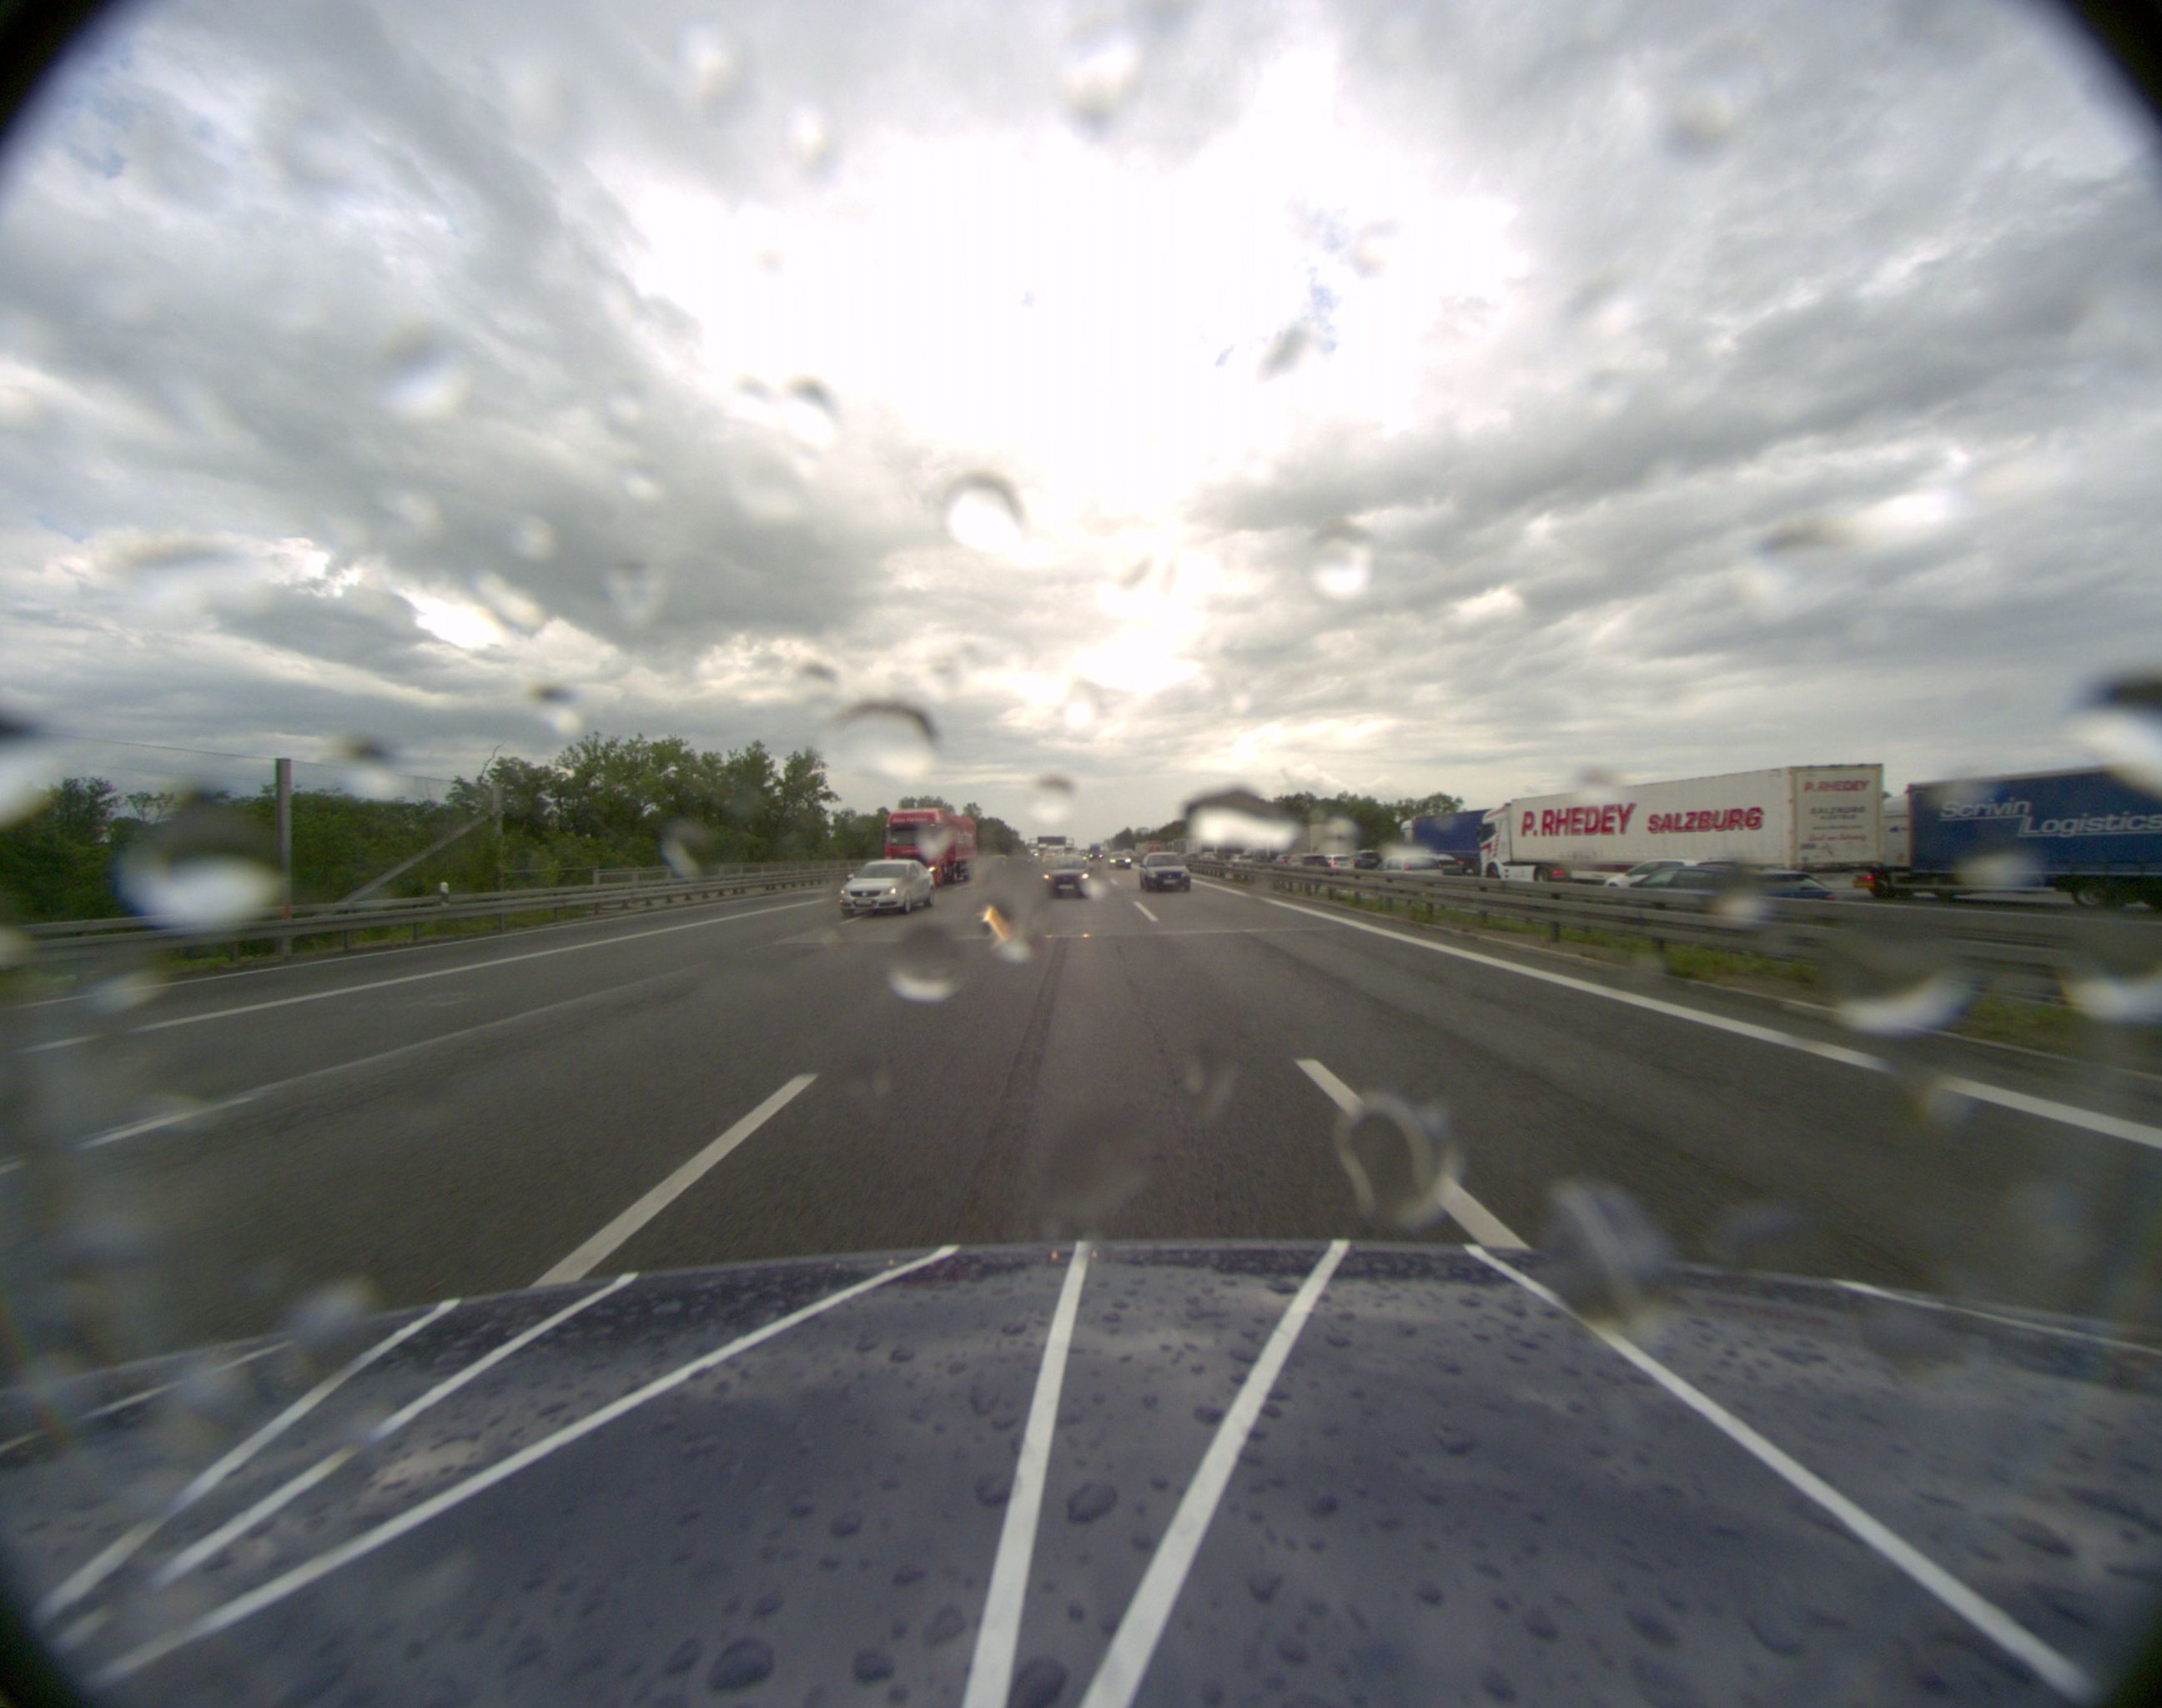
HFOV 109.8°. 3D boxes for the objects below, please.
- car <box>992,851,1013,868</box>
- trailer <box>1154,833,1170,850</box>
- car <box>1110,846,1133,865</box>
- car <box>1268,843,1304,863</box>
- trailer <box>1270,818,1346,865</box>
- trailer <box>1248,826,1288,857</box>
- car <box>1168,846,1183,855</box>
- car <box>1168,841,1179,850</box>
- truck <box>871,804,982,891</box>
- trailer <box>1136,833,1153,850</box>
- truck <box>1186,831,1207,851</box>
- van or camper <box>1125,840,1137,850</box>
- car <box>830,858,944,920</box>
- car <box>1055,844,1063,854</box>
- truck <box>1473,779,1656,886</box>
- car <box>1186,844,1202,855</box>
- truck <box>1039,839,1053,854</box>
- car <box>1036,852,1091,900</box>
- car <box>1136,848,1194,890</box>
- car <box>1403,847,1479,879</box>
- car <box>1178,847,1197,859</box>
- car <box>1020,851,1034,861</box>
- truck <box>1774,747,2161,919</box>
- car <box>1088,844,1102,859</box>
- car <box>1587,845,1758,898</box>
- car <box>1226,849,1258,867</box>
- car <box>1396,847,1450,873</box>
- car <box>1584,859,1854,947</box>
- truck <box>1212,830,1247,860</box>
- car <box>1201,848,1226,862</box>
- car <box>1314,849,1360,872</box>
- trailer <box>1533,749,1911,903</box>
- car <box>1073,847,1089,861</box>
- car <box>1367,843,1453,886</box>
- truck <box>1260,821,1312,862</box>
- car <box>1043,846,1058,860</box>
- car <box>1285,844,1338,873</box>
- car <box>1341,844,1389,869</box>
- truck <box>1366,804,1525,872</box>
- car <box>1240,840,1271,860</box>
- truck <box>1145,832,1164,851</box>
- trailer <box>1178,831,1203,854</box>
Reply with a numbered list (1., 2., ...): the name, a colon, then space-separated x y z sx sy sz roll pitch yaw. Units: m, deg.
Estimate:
1. car: -7.879 0.547 76.703 1.820 1.534 4.356 -2 1 -3
2. trailer: 20.640 -3.243 193.716 2.888 4.122 13.026 -1 1 1
3. car: 3.426 0.124 64.595 1.751 1.489 4.014 -2 1 0
4. car: 17.735 -0.132 65.903 1.826 1.614 4.697 -1 1 0
5. trailer: 21.139 -1.207 71.970 3.252 3.911 13.013 -2 1 0
6. trailer: 25.854 -1.734 105.523 3.227 3.937 8.848 -2 1 0
7. car: 16.402 -0.613 131.431 1.768 1.615 4.779 -1 1 -3
8. car: 20.331 -1.814 167.047 1.998 1.820 3.999 -2 1 1
9. truck: -8.187 -0.386 43.098 3.160 3.980 15.633 -2 1 -1
10. trailer: 15.838 -3.124 191.240 2.888 4.122 13.024 -1 1 -1
11. truck: 24.584 -2.769 162.823 2.727 3.959 11.691 -1 1 0
12. van or camper: 12.597 -2.257 191.389 2.284 2.482 7.300 -1 1 -1
13. car: -5.357 0.912 21.583 1.898 1.438 4.246 -2 1 3
14. car: -5.947 -1.406 206.092 2.037 2.588 4.512 -1 1 -2
15. truck: 21.082 -0.876 33.873 3.186 4.170 7.736 -1 1 0
16. car: 17.222 -0.717 115.977 1.724 1.718 5.103 -1 1 0
17. truck: -9.859 -2.148 212.361 3.256 3.884 12.307 -2 1 -4
18. car: -0.543 0.700 26.873 1.668 1.432 4.404 -2 1 1
19. car: 3.126 0.518 29.128 1.781 1.399 5.016 -2 1 2
20. car: 18.070 0.417 38.377 1.649 1.494 4.676 -1 1 1
21. car: 13.137 -0.127 93.781 1.724 1.346 3.999 -1 1 0
22. car: -7.841 0.265 110.186 1.782 1.438 4.586 -2 1 -3
23. truck: 25.532 -0.537 21.087 2.906 3.818 10.755 -1 1 1
24. car: 2.305 -0.450 127.028 1.999 2.354 4.171 -2 1 -1
25. car: 17.483 0.458 22.796 1.649 1.399 4.543 -1 1 1
26. car: 13.272 0.301 62.929 1.724 1.346 4.625 -1 1 0
27. car: 21.493 0.341 47.961 1.649 1.537 4.000 -1 1 1
28. car: 12.742 0.873 15.683 1.649 1.432 4.729 -1 1 1
29. truck: 17.577 -1.119 90.269 2.526 3.379 8.539 -1 1 0
30. car: 13.501 0.066 77.554 1.724 1.346 4.534 -1 1 0
31. car: 17.732 0.422 52.836 1.649 1.501 4.859 -1 1 1
32. trailer: 21.141 -0.817 26.798 3.195 4.170 11.954 -1 1 0
33. car: 0.066 -0.037 104.558 2.134 1.831 3.999 -1 1 0
34. car: 13.175 0.383 30.694 1.797 1.610 4.000 -1 1 1
35. truck: 21.150 -1.308 78.849 3.207 3.911 7.572 -2 1 0
36. car: -4.167 -0.095 104.311 1.962 1.831 3.999 -1 1 -1
37. car: 13.362 0.234 44.250 1.797 1.610 4.283 -1 1 1
38. car: 21.334 0.178 57.241 1.973 1.737 4.574 -1 1 1
39. truck: 25.124 -1.027 54.266 2.655 3.998 17.744 -1 1 -1
40. car: 17.942 -0.446 78.399 1.826 2.040 5.674 -1 1 0
41. truck: 16.483 -2.824 170.765 2.991 4.125 12.519 -1 1 -1
42. trailer: 20.635 -2.133 143.738 2.825 4.038 11.600 -2 1 0
